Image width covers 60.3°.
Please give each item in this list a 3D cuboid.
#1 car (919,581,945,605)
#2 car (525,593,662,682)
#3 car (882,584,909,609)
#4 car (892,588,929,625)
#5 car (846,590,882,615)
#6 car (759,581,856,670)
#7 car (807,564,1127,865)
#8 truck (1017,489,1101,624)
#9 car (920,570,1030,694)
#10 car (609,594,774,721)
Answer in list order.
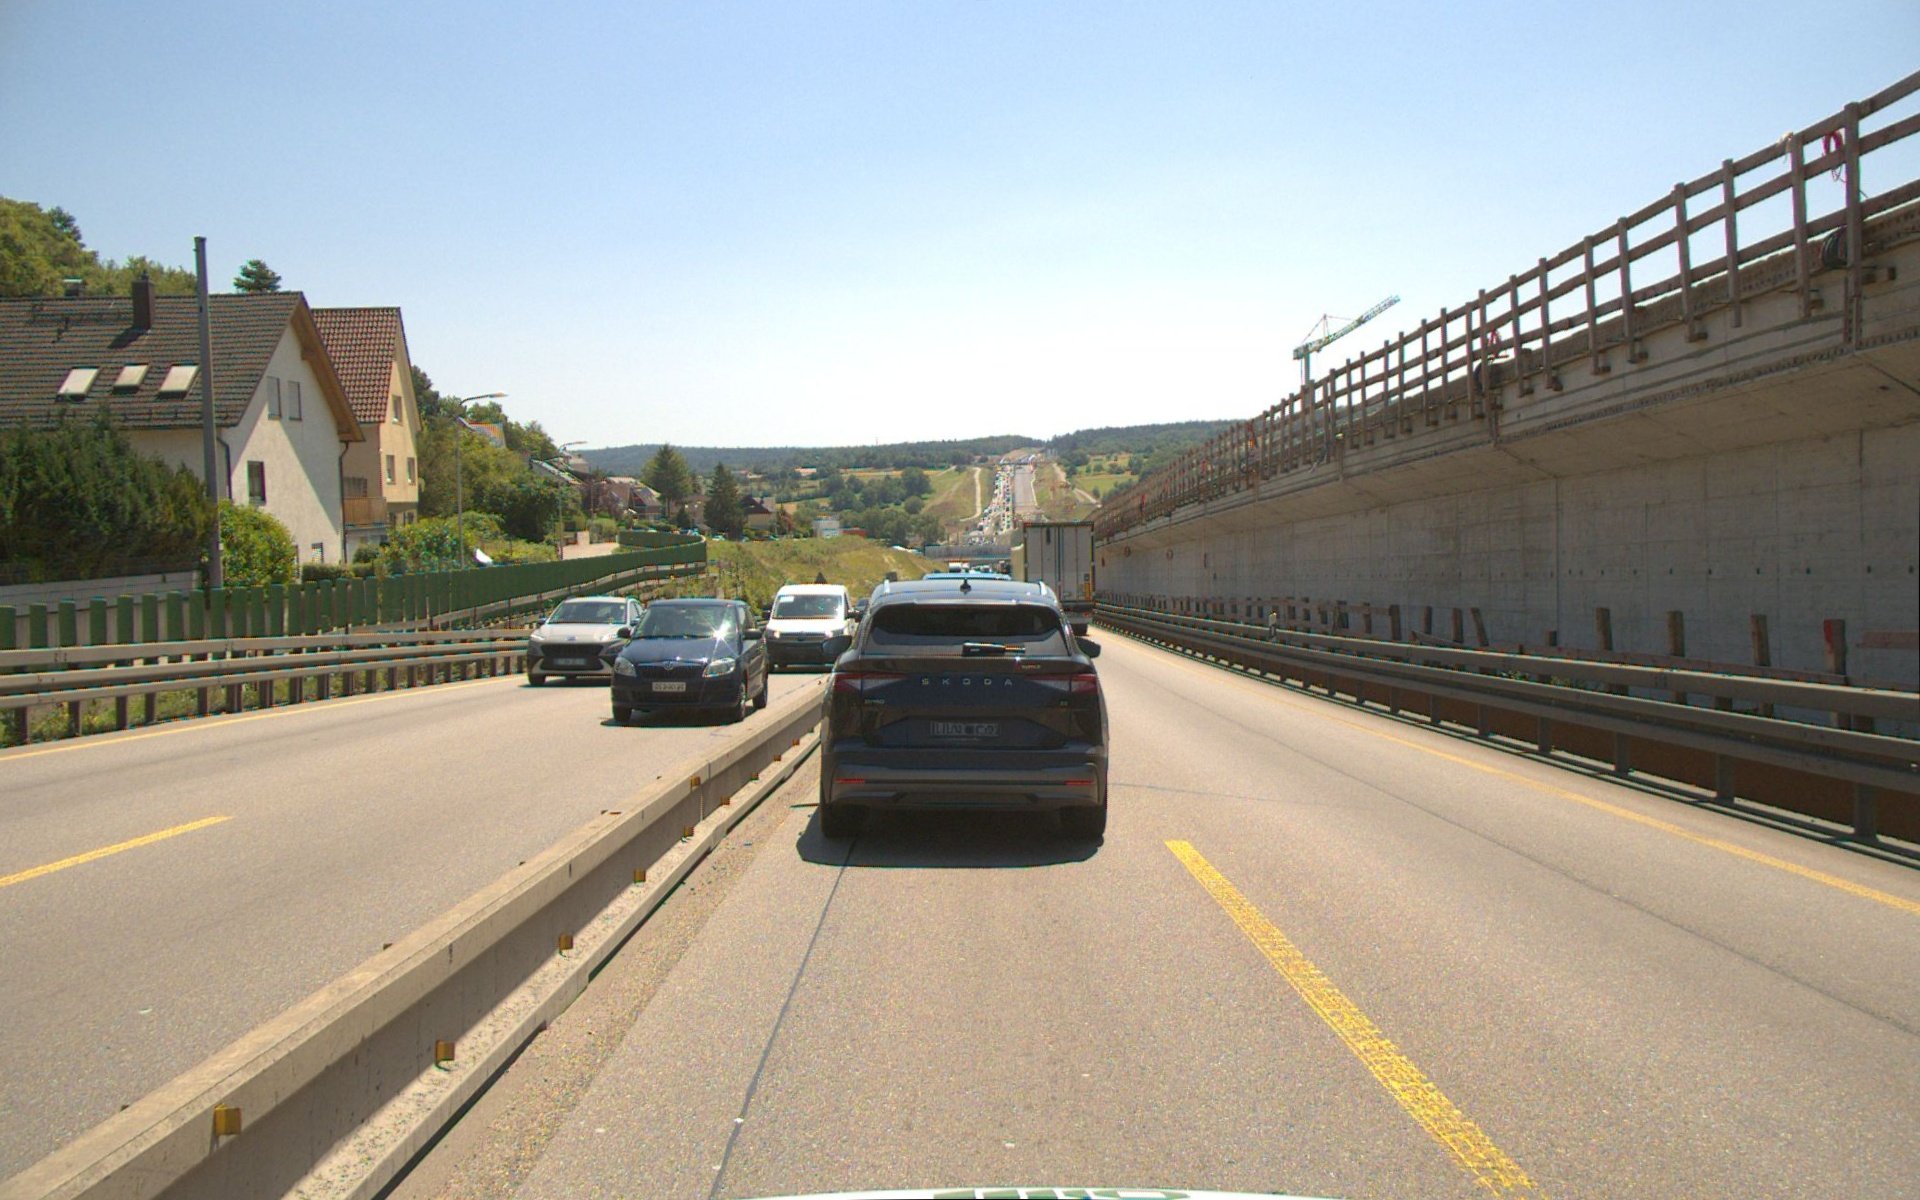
[{"bbox_3d":[-2.394,-0.595,141.708,2.113,1.939,5.326,-1,0,0],"label":"car"},{"bbox_3d":[-6.566,0.630,29.992,1.667,1.505,3.973,0,0,-1],"label":"car"},{"bbox_3d":[-5.062,-0.270,129.842,1.789,1.959,5.237,-1,0,-5],"label":"car"},{"bbox_3d":[-2.908,0.390,97.649,1.952,2.049,4.969,-2,0,1],"label":"car"},{"bbox_3d":[-5.998,0.167,103.881,1.953,1.467,4.363,1,0,0],"label":"car"},{"bbox_3d":[-3.203,0.504,35.410,1.772,1.771,4.256,0,0,-1],"label":"car"},{"bbox_3d":[0.042,0.642,11.229,1.746,1.625,3.755,-2,0,0],"label":"car"},{"bbox_3d":[3.708,-1.507,64.422,2.787,4.696,11.813,-2,0,2],"label":"truck"},{"bbox_3d":[0.200,0.495,27.619,1.714,1.928,3.754,0,0,-1],"label":"car"},{"bbox_3d":[-3.393,0.670,21.542,1.539,1.487,4.212,0,0,-1],"label":"car"}]
